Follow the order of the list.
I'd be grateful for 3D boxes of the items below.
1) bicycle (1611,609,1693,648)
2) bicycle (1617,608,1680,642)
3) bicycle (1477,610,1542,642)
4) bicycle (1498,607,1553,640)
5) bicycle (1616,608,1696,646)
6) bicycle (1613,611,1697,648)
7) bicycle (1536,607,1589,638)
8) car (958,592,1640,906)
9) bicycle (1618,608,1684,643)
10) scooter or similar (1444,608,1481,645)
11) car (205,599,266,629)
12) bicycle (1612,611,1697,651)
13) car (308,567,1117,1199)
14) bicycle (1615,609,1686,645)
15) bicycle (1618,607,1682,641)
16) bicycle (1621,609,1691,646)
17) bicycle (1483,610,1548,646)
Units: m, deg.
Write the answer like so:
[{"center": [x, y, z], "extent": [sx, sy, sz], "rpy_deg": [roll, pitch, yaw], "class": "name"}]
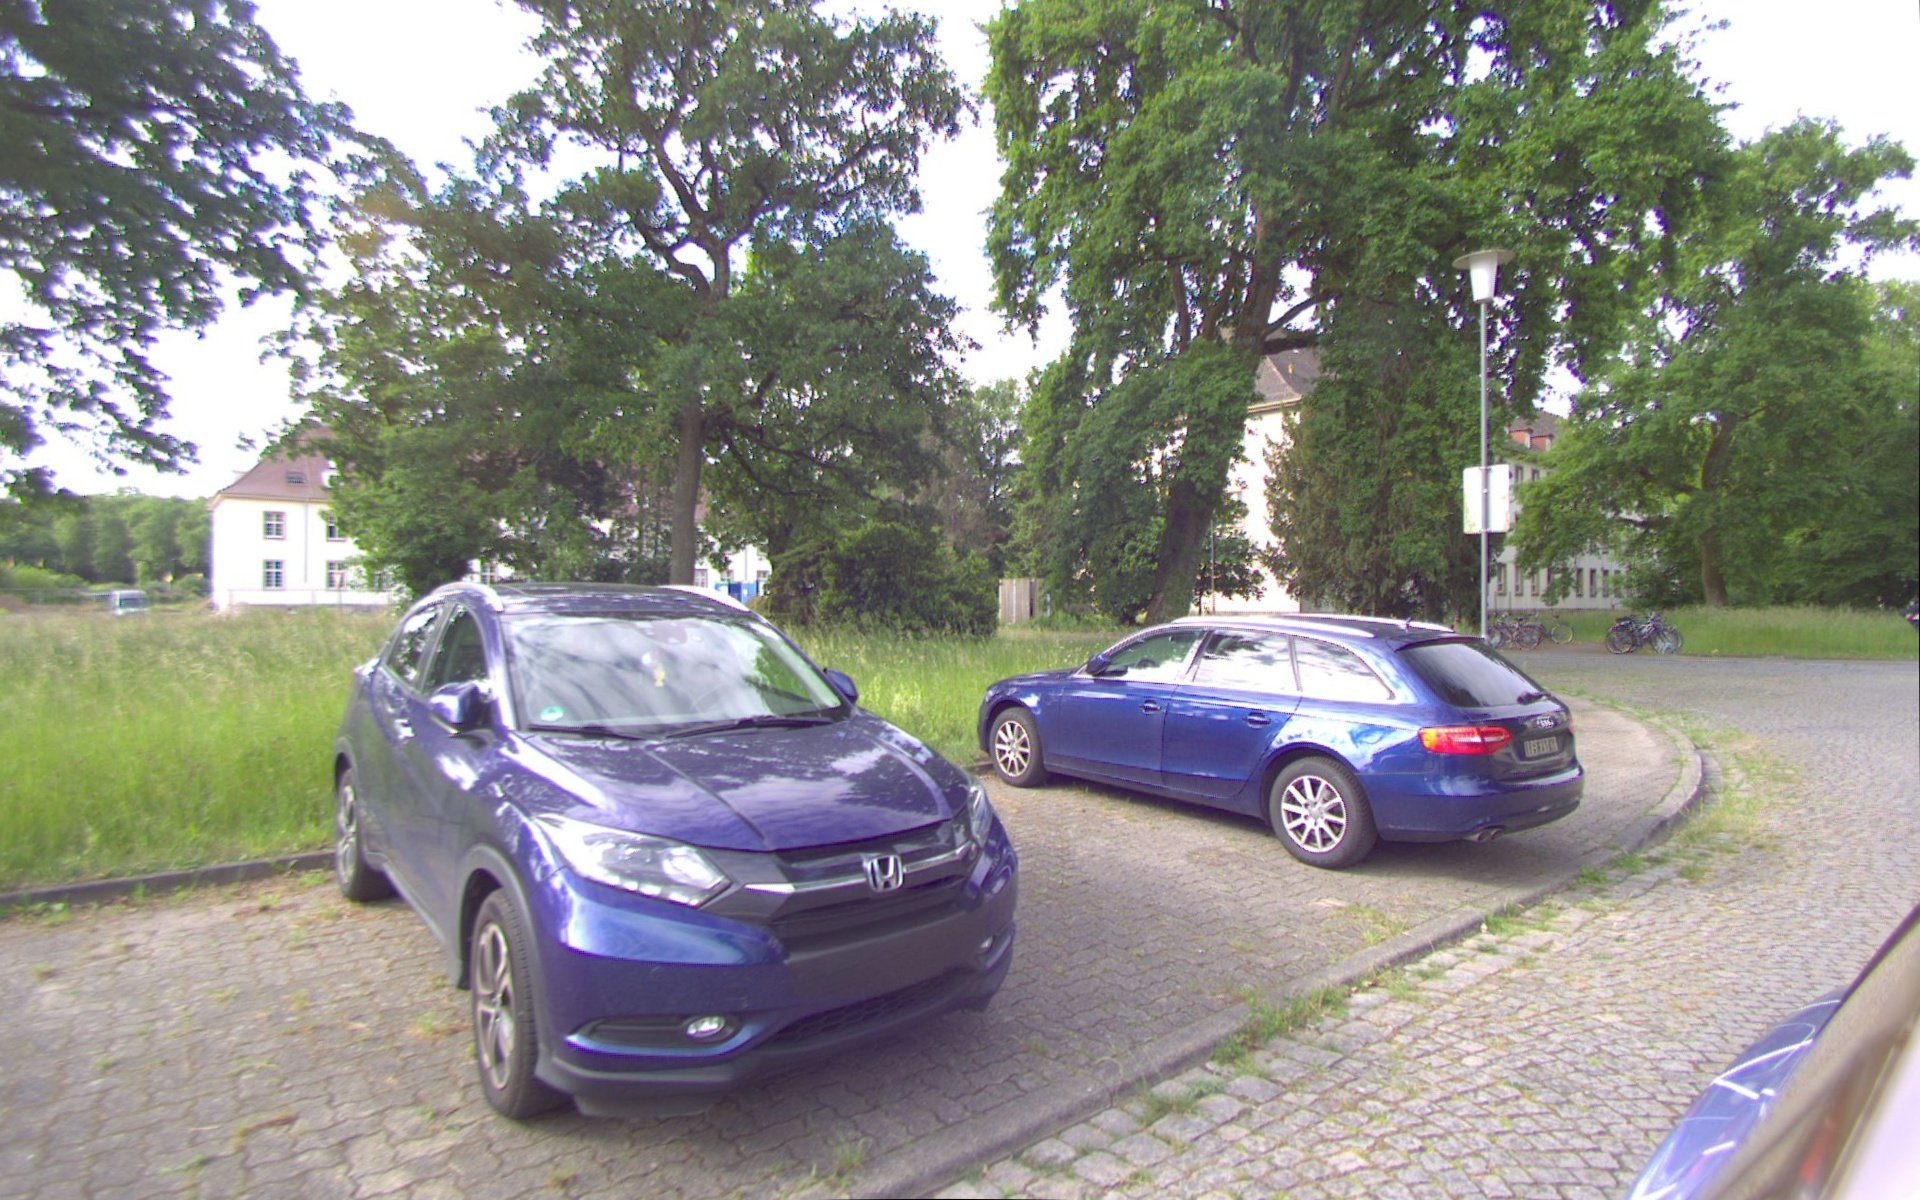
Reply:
[{"center": [21.069, 0.851, 30.855], "extent": [2.000, 1.101, 0.474], "rpy_deg": [0, 2, 30], "class": "bicycle"}, {"center": [23.731, 0.844, 34.927], "extent": [1.735, 1.101, 0.548], "rpy_deg": [0, 2, 29], "class": "bicycle"}, {"center": [18.065, 0.856, 33.287], "extent": [1.836, 1.002, 0.452], "rpy_deg": [0, 0, 24], "class": "bicycle"}, {"center": [19.300, 0.790, 34.572], "extent": [1.546, 1.102, 0.558], "rpy_deg": [0, 0, 21], "class": "bicycle"}, {"center": [21.507, 0.833, 31.310], "extent": [2.000, 1.101, 0.474], "rpy_deg": [0, 2, 30], "class": "bicycle"}, {"center": [20.499, 0.849, 29.887], "extent": [2.000, 1.022, 0.474], "rpy_deg": [0, 2, 30], "class": "bicycle"}, {"center": [21.312, 0.799, 35.818], "extent": [1.551, 1.047, 0.472], "rpy_deg": [0, 0, 27], "class": "bicycle"}, {"center": [2.059, 0.736, 7.443], "extent": [1.859, 1.483, 4.520], "rpy_deg": [1, 1, -36], "class": "car"}, {"center": [23.364, 0.848, 34.246], "extent": [1.792, 1.101, 0.548], "rpy_deg": [0, 2, 29], "class": "bicycle"}, {"center": [16.518, 0.864, 33.276], "extent": [0.378, 1.210, 1.063], "rpy_deg": [1, 0, -36], "class": "scooter or similar"}, {"center": [-51.083, 1.005, 71.329], "extent": [5.814, 2.039, 2.449], "rpy_deg": [-2, -1, 43], "class": "car"}, {"center": [20.207, 0.891, 29.500], "extent": [2.000, 1.101, 0.474], "rpy_deg": [0, 2, 30], "class": "bicycle"}, {"center": [-1.534, 0.679, 4.544], "extent": [1.861, 1.593, 4.273], "rpy_deg": [1, 1, -39], "class": "car"}, {"center": [22.287, 0.861, 32.702], "extent": [1.849, 1.101, 0.515], "rpy_deg": [0, 2, 29], "class": "bicycle"}, {"center": [24.210, 0.835, 35.548], "extent": [1.809, 1.101, 0.548], "rpy_deg": [0, 2, 29], "class": "bicycle"}, {"center": [21.958, 0.868, 31.982], "extent": [1.773, 1.101, 0.474], "rpy_deg": [0, 2, 29], "class": "bicycle"}, {"center": [17.942, 0.899, 32.735], "extent": [1.793, 1.101, 0.475], "rpy_deg": [0, 2, 24], "class": "bicycle"}]
